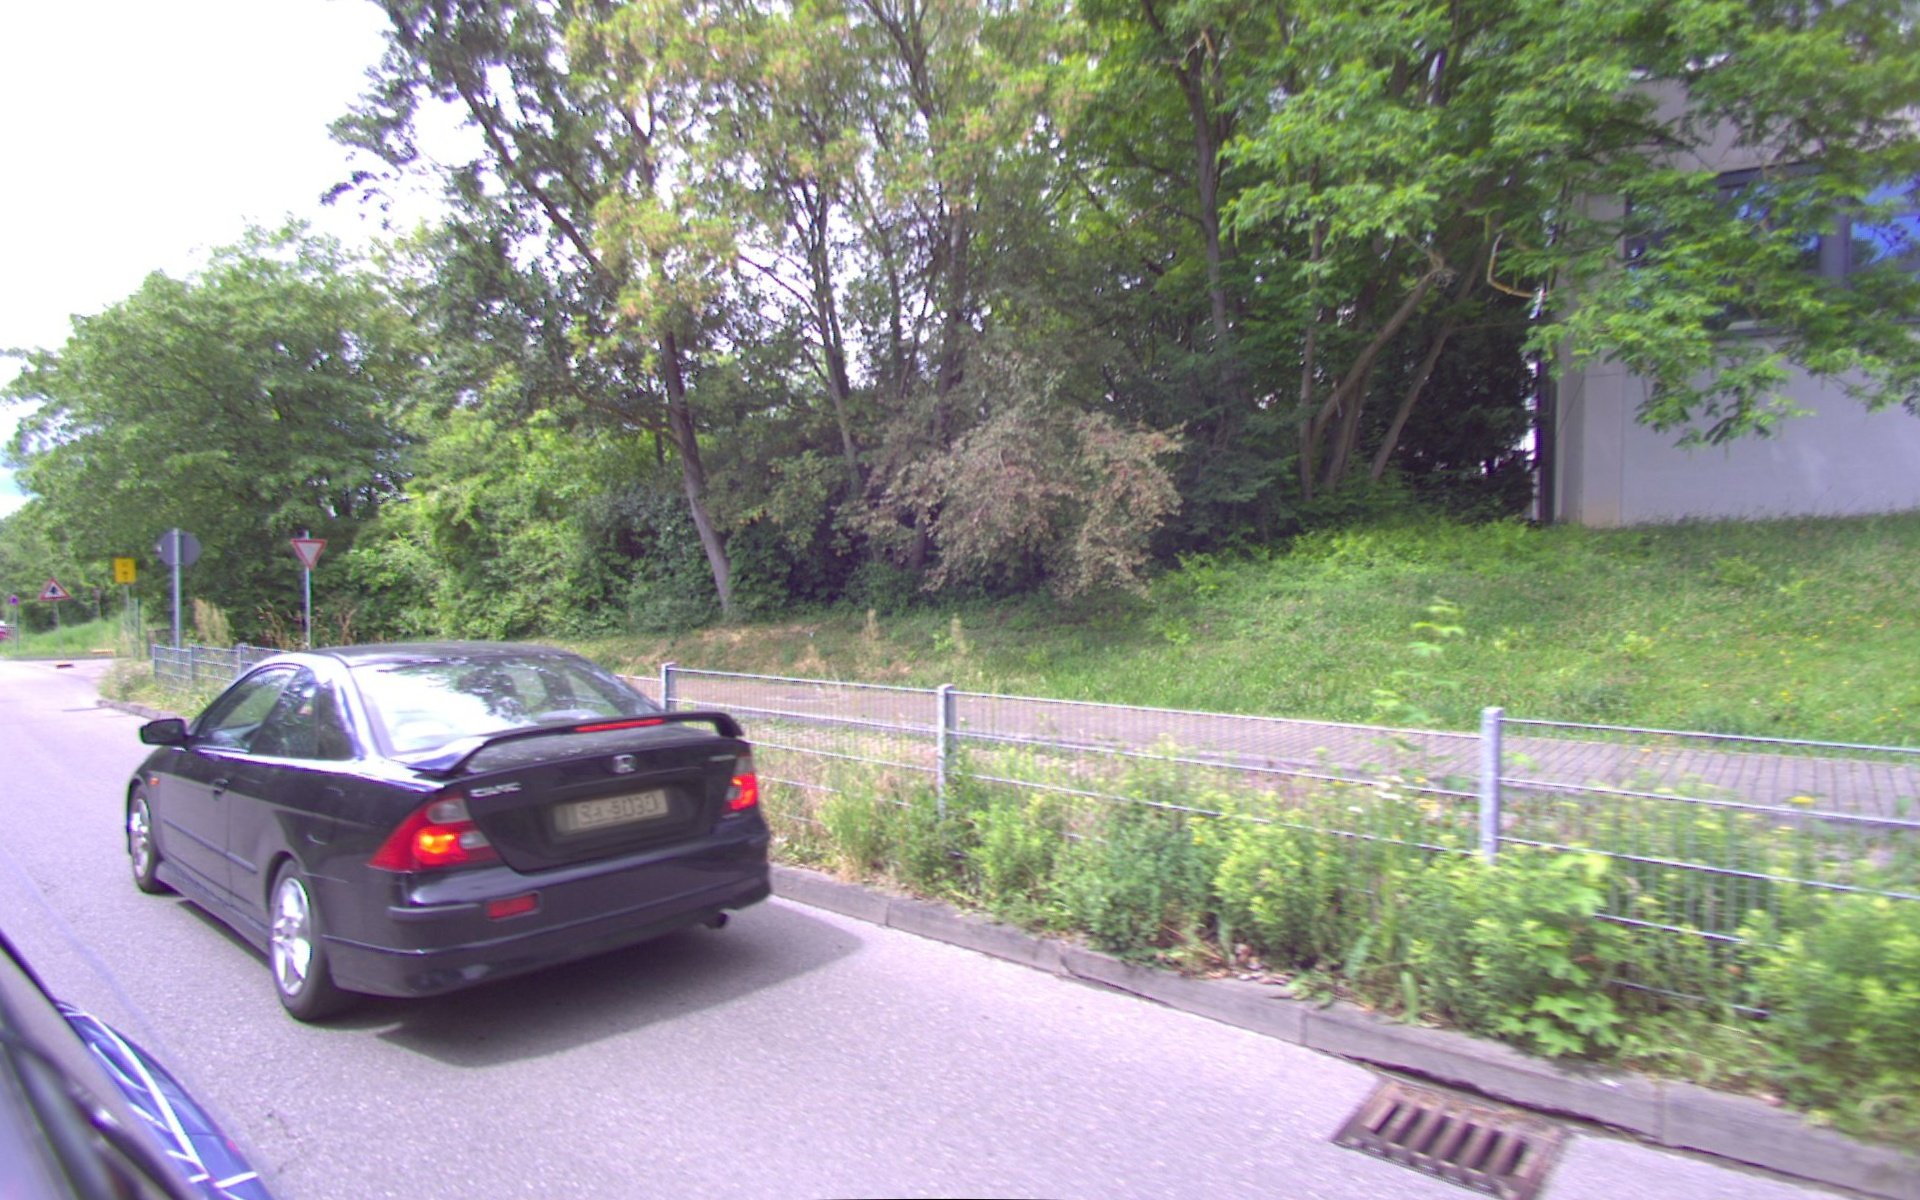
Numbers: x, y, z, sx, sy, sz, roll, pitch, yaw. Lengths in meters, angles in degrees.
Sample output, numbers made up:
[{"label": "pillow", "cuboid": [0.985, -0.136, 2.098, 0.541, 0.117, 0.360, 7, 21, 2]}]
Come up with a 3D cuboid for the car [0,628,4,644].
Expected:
[{"label": "car", "cuboid": [-91.611, 3.385, 94.758, 1.837, 1.488, 4.917, 3, -2, -30]}]

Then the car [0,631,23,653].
[{"label": "car", "cuboid": [-76.137, 3.359, 80.706, 1.820, 1.671, 4.229, 0, -2, -39]}]

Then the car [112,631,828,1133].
[{"label": "car", "cuboid": [-2.611, 0.849, 4.846, 4.093, 1.359, 1.675, -1, -1, 42]}]
